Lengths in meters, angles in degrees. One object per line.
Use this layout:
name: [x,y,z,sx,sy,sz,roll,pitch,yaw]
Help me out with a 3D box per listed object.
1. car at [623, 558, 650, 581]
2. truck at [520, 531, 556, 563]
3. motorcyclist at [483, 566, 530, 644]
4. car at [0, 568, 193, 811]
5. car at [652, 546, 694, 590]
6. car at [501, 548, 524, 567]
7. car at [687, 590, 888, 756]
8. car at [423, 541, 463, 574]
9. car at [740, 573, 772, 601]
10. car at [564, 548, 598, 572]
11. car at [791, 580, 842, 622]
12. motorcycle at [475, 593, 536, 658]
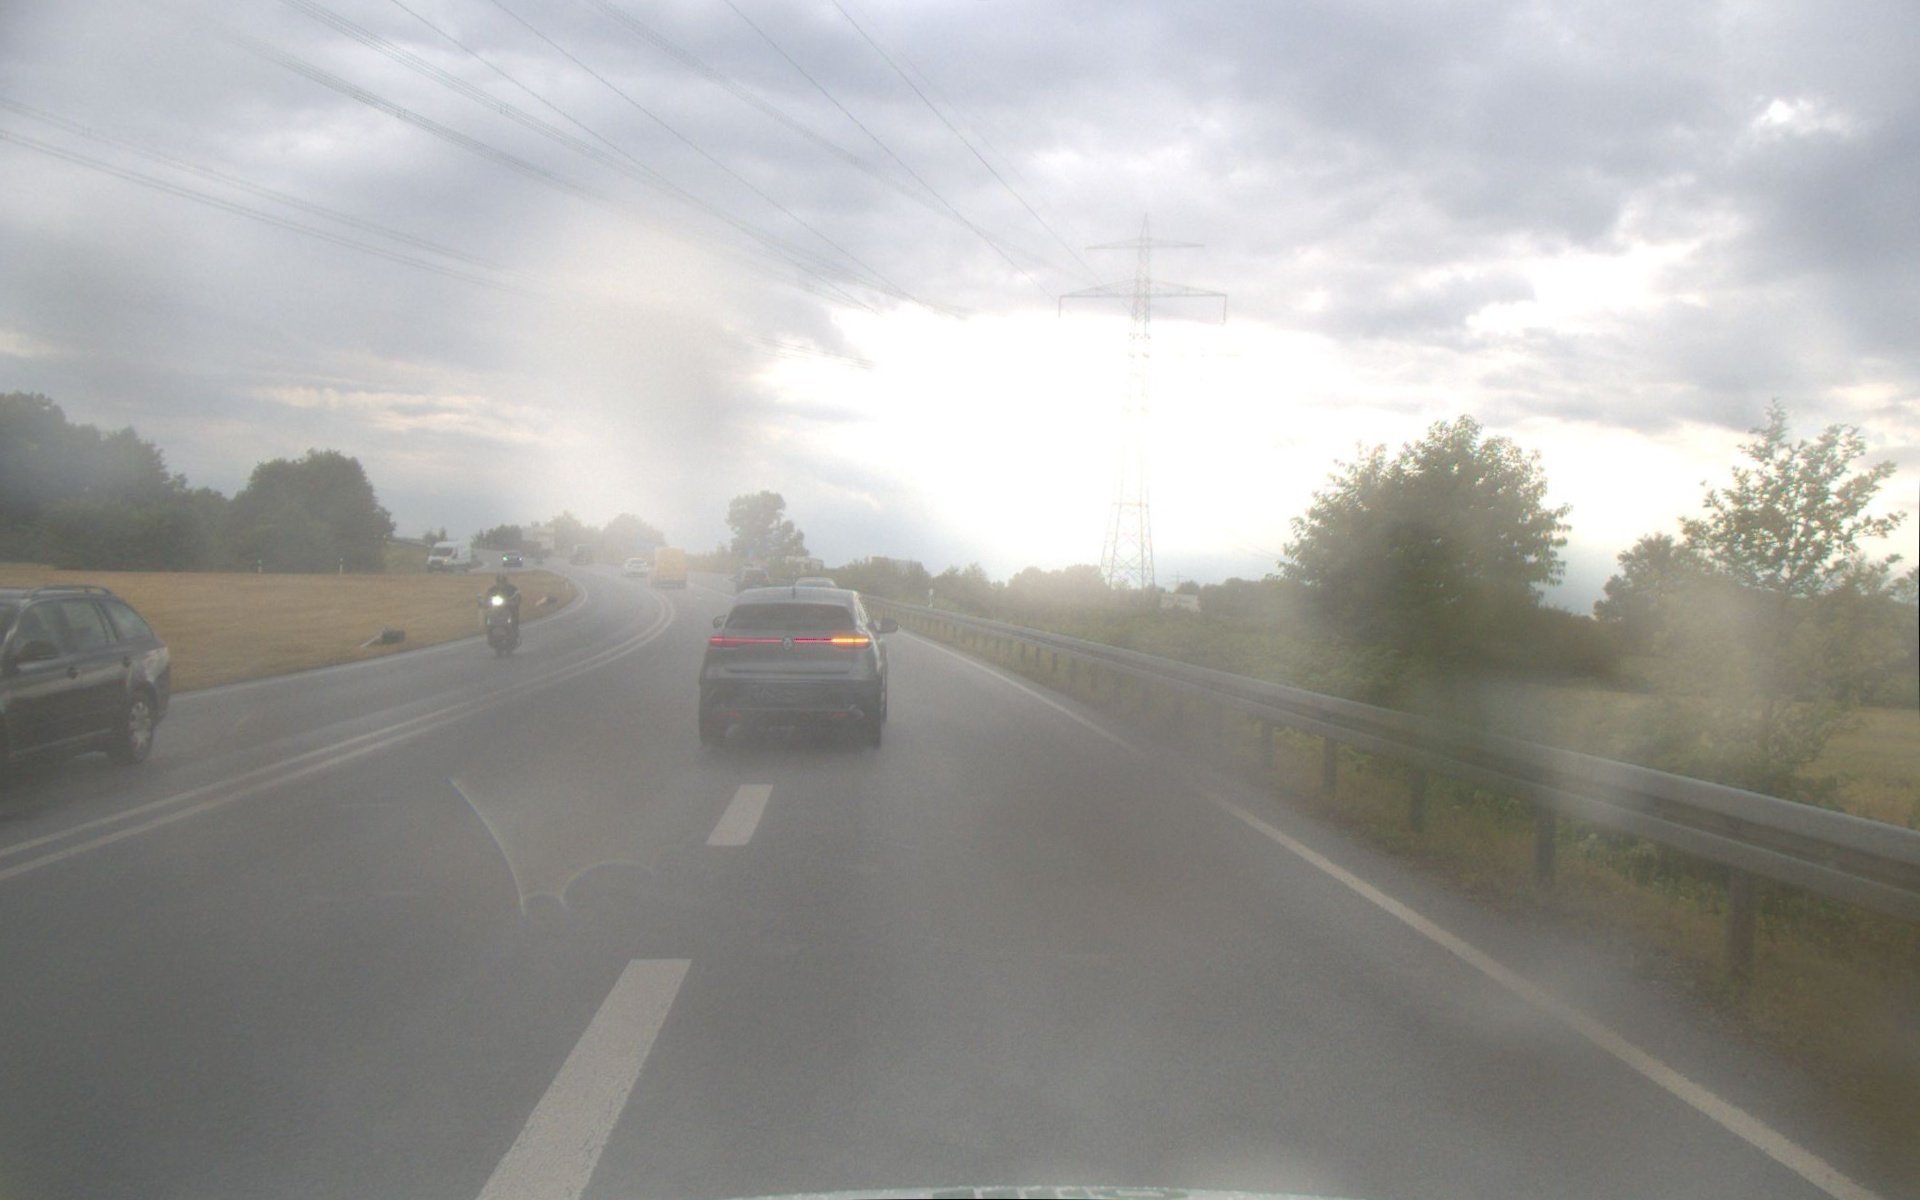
car: [-25.685,-2.429,131.179,1.762,1.717,3.984,1,-1,-15]
truck: [-49.470,-6.160,193.555,3.004,3.444,7.592,2,-1,-22]
motorcyclist: [-9.330,0.091,34.048,0.786,1.562,0.824,1,1,-5]
car: [-7.420,0.584,12.312,1.765,1.622,4.220,1,0,-5]
car: [-18.853,-2.062,108.396,2.527,2.773,7.176,-1,1,-11]
car: [-41.666,-3.921,154.192,1.948,1.631,3.901,3,0,-15]
car: [-1.644,0.649,16.950,1.755,1.466,3.998,1,0,-2]
car: [-40.956,-3.360,131.218,2.391,2.432,5.455,2,0,-11]
car: [-12.112,-0.737,98.103,1.758,1.568,3.992,0,-1,-9]
car: [-38.919,-4.060,169.717,2.566,2.290,5.497,2,-1,-22]
car: [-5.214,0.019,59.929,1.757,1.466,3.995,-1,0,-6]
motorcycle: [-9.328,0.497,34.016,0.786,1.260,2.183,1,1,-5]
